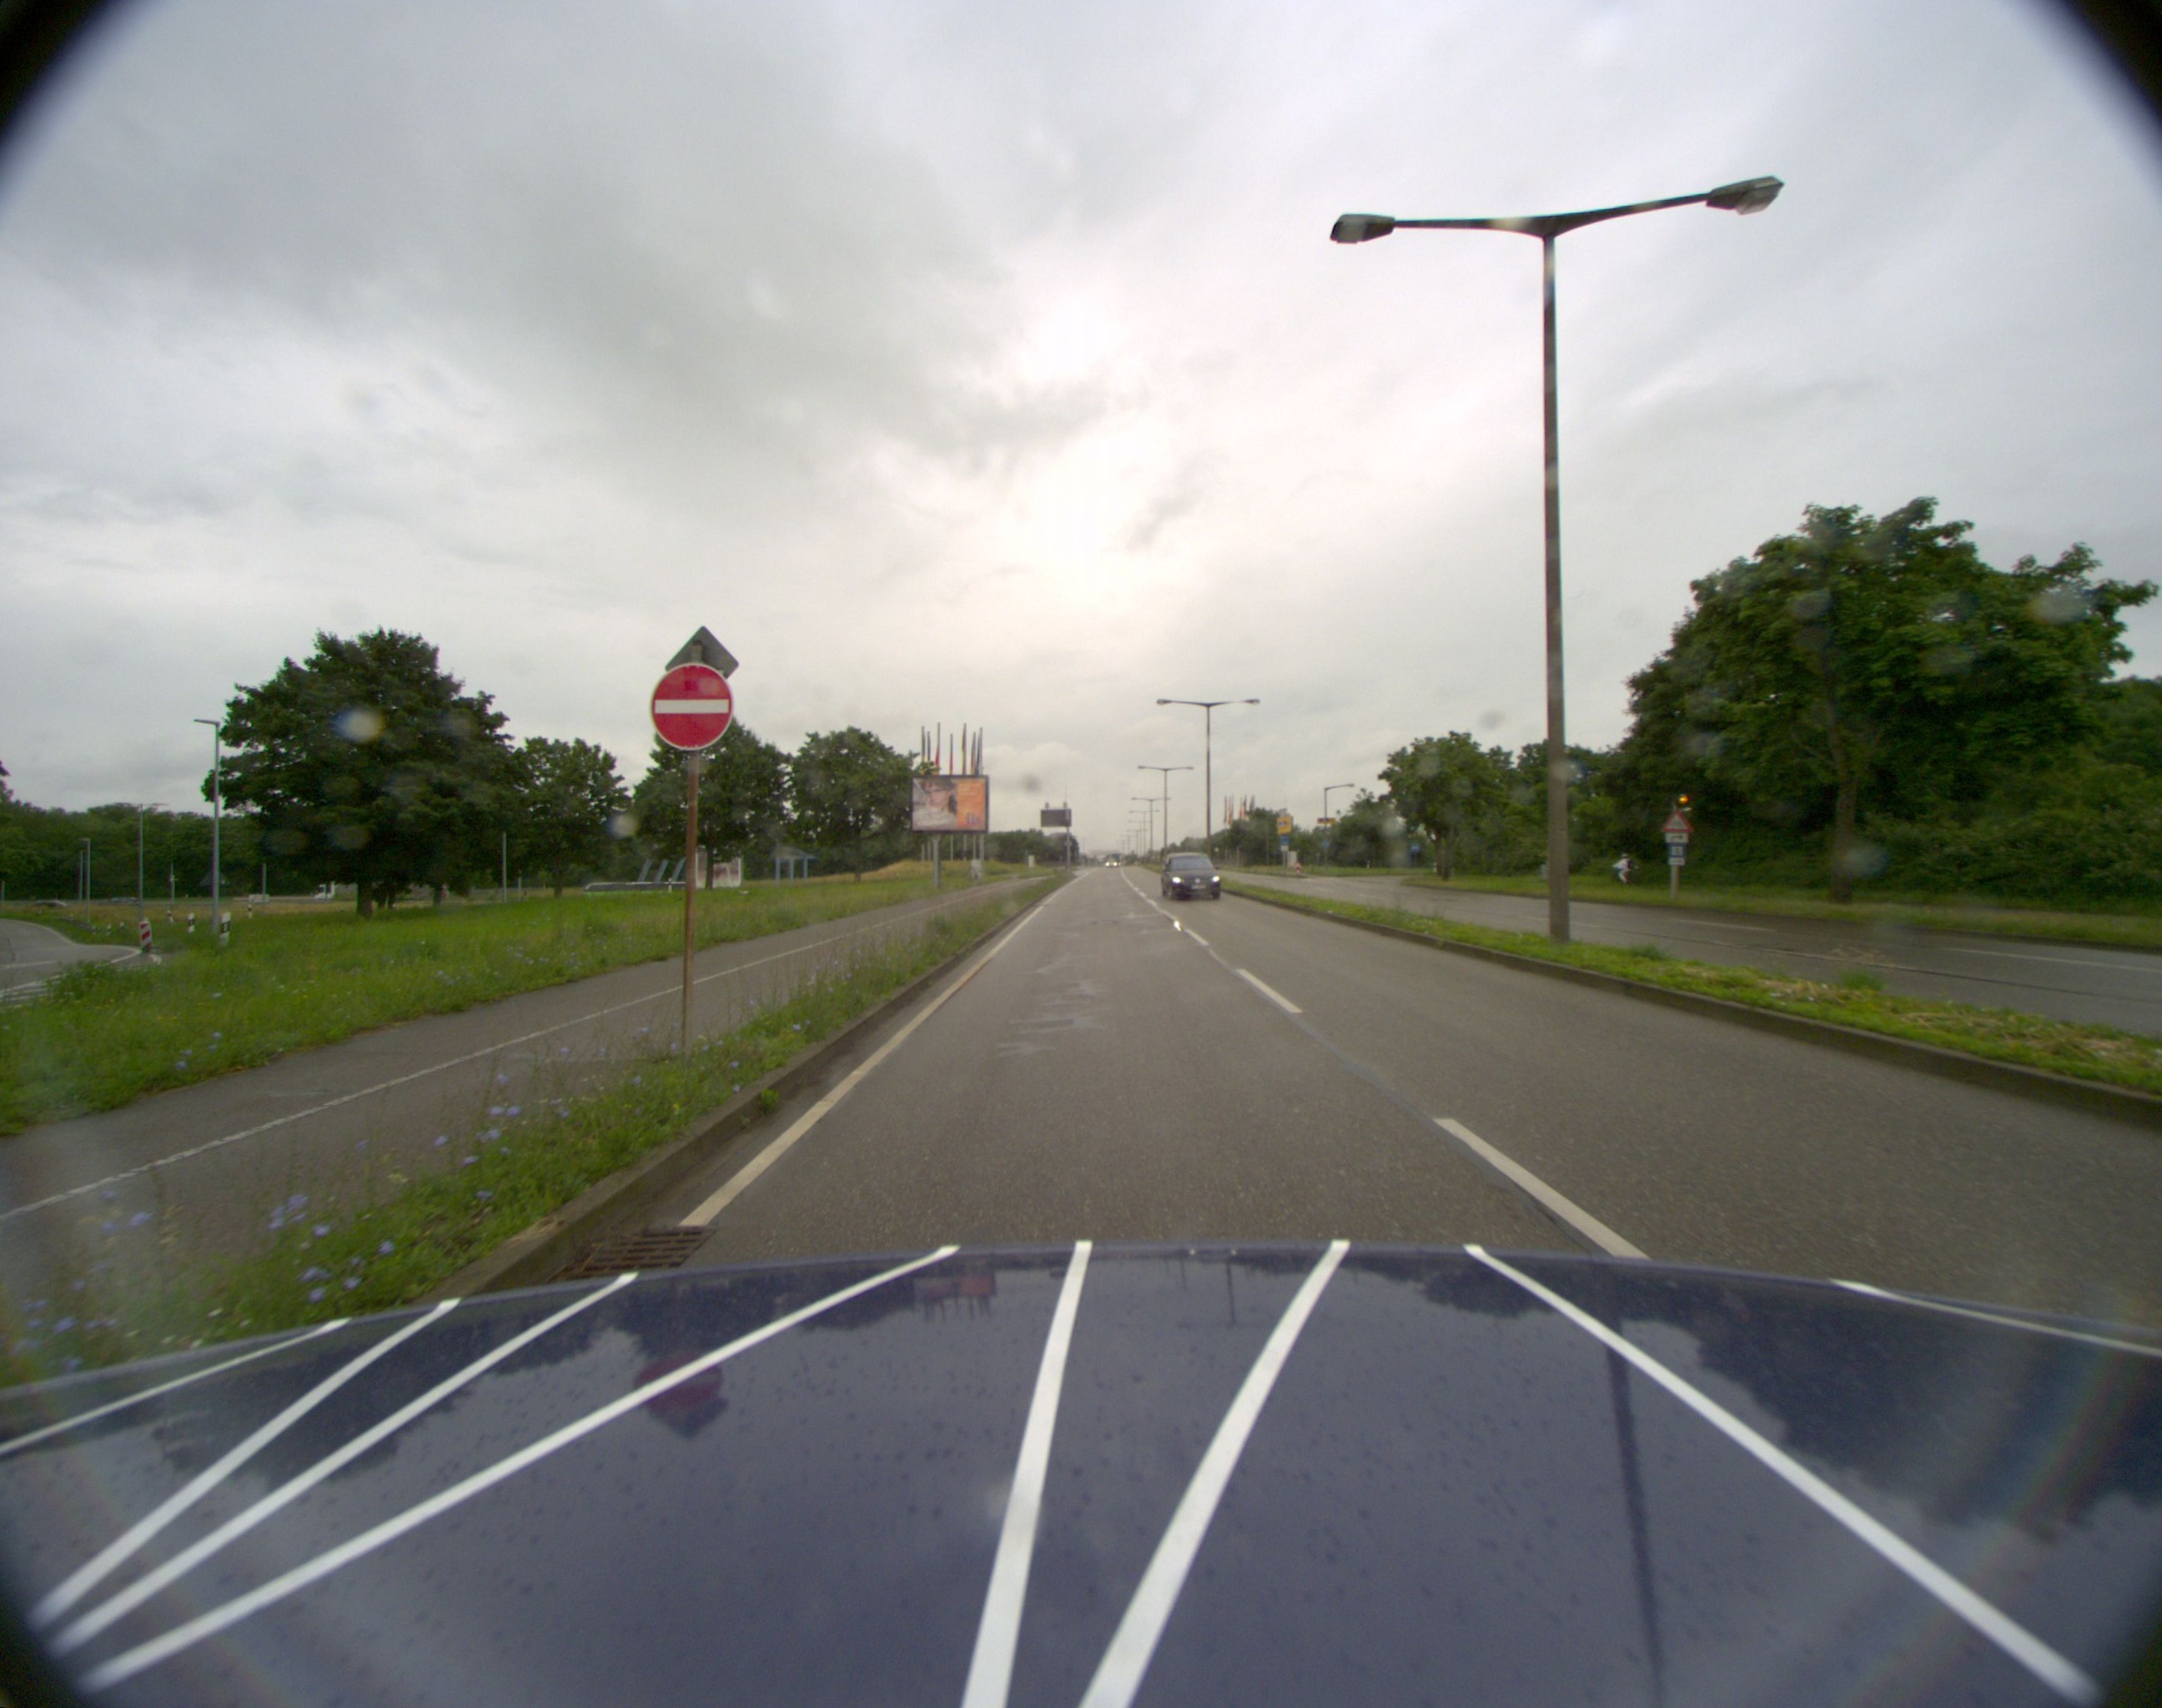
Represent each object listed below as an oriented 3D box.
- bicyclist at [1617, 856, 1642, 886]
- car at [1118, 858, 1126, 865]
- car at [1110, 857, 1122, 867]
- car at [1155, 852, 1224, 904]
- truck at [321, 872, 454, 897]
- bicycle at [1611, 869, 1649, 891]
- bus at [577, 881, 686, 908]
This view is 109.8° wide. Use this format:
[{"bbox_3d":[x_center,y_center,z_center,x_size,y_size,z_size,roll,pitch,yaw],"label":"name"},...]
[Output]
[{"bbox_3d":[24.180,0.747,33.493,0.523,1.295,0.808,-2,0,2],"label":"bicyclist"},{"bbox_3d":[10.961,2.029,204.560,1.998,1.703,4.001,-1,-1,1],"label":"car"},{"bbox_3d":[6.206,1.497,136.674,1.998,1.700,4.000,-1,0,1],"label":"car"},{"bbox_3d":[4.057,0.830,29.156,1.850,1.740,4.816,-2,0,-1],"label":"car"},{"bbox_3d":[-112.615,4.844,123.780,16.277,3.370,2.745,-2,0,-18],"label":"truck"},{"bbox_3d":[24.191,1.133,33.500,0.523,0.880,1.634,-2,0,2],"label":"bicycle"},{"bbox_3d":[-65.718,5.849,111.726,2.756,2.664,14.613,-1,2,25],"label":"bus"}]
